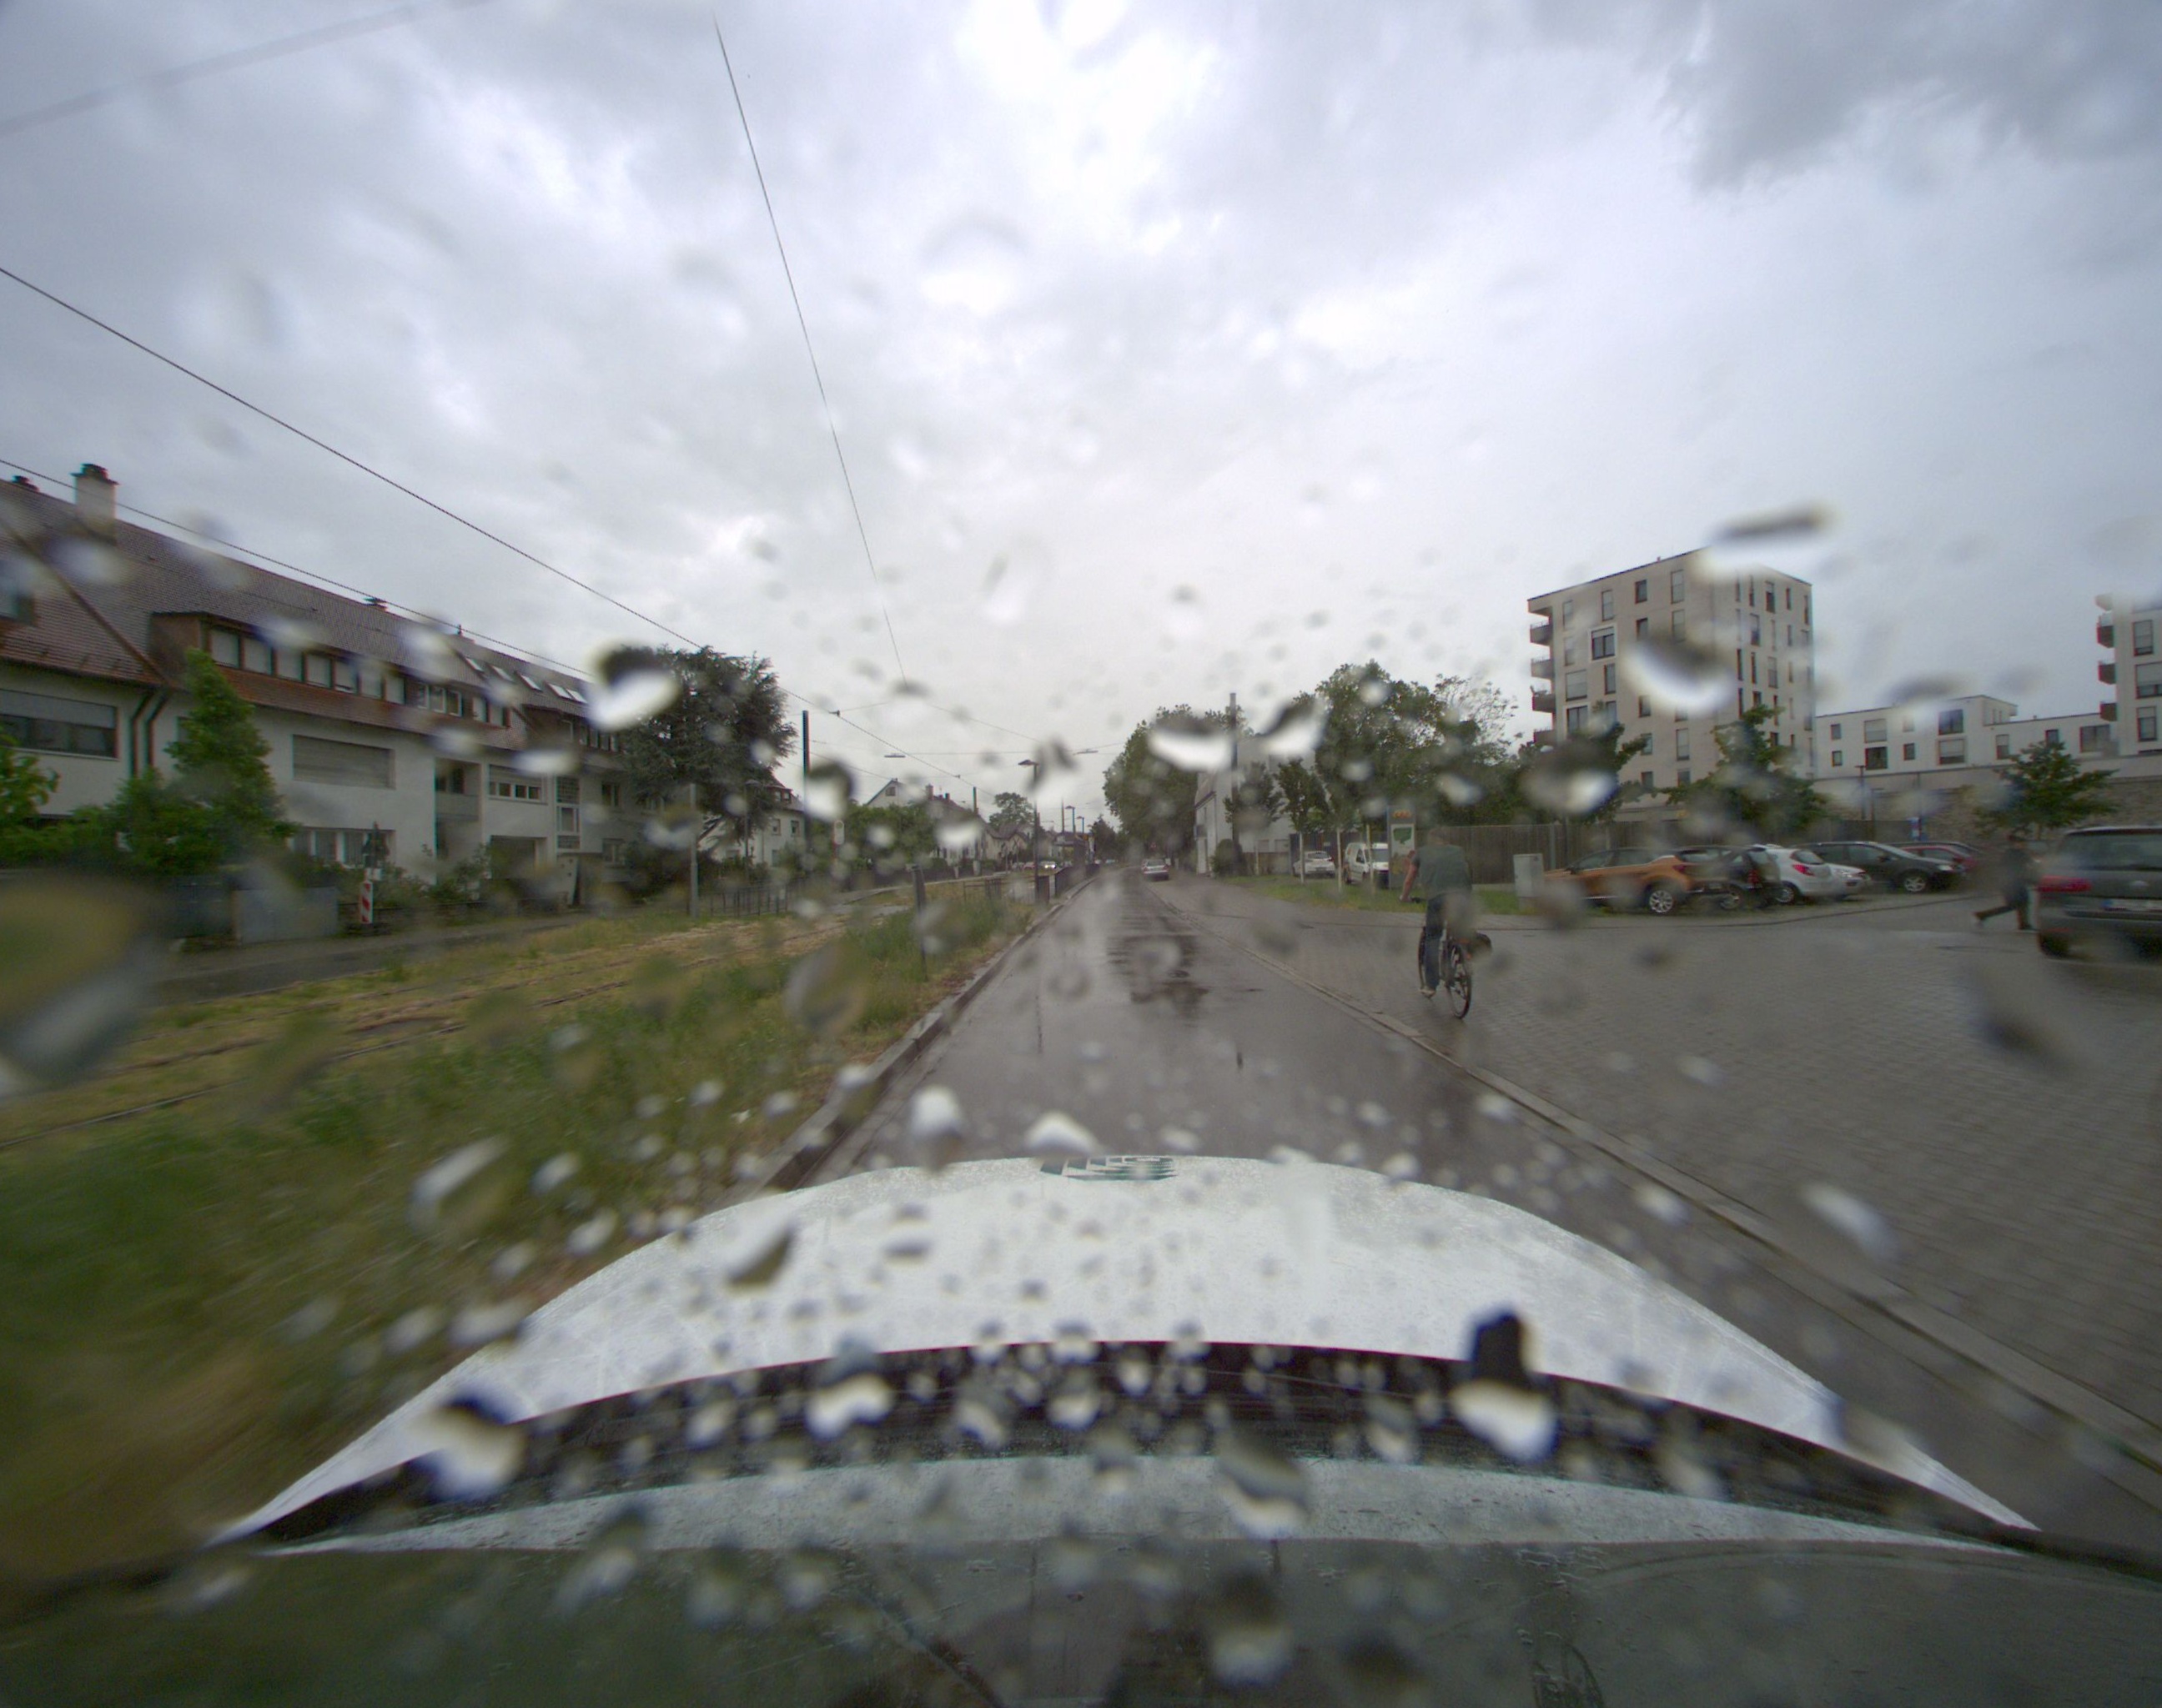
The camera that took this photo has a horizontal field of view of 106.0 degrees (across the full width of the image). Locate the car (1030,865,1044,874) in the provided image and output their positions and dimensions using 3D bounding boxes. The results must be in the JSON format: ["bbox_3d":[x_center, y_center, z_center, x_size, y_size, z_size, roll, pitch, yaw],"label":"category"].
[{"bbox_3d":[-7.866,2.818,145.747,1.918,1.486,4.007,-1,-1,6],"label":"car"}]

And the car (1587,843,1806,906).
[{"bbox_3d":[15.493,0.507,20.732,2.004,1.441,3.965,0,-1,-26],"label":"car"}]

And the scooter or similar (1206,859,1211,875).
[{"bbox_3d":[8.585,0.899,54.918,0.331,1.085,1.399,-1,-1,8],"label":"scooter or similar"}]

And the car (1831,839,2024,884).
[{"bbox_3d":[29.582,0.230,28.624,1.974,1.431,4.325,-1,0,-27],"label":"car"}]

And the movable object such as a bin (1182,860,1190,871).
[{"bbox_3d":[10.498,1.181,81.500,0.689,1.022,0.825,-4,-1,2],"label":"movable object such as a bin"}]

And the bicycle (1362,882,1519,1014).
[{"bbox_3d":[3.407,0.830,7.926,0.535,1.093,1.945,0,-1,-4],"label":"bicycle"}]

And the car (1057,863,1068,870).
[{"bbox_3d":[-3.986,2.722,175.420,1.918,1.486,4.007,-1,-1,6],"label":"car"}]

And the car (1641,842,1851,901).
[{"bbox_3d":[17.980,0.484,22.222,2.004,1.441,3.965,0,-1,-26],"label":"car"}]

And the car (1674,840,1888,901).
[{"bbox_3d":[20.062,0.415,23.534,1.977,1.587,4.319,-1,0,-32],"label":"car"}]

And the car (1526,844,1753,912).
[{"bbox_3d":[13.061,0.551,19.330,2.004,1.441,3.965,0,-1,-26],"label":"car"}]

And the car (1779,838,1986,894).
[{"bbox_3d":[25.091,0.340,25.660,1.977,1.609,4.319,-1,0,-32],"label":"car"}]

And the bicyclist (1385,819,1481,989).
[{"bbox_3d":[3.397,0.468,7.918,0.533,1.560,0.771,0,-1,-5],"label":"bicyclist"}]

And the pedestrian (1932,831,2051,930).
[{"bbox_3d":[14.702,0.414,13.175,0.840,1.517,1.085,0,-2,-28],"label":"pedestrian"}]

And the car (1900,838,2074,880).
[{"bbox_3d":[33.668,0.225,30.396,2.005,1.441,3.964,0,-1,-28],"label":"car"}]

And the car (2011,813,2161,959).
[{"bbox_3d":[13.633,0.355,10.206,4.124,1.617,1.798,0,0,-29],"label":"car"}]

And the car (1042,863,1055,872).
[{"bbox_3d":[-5.389,2.214,135.832,1.626,1.493,4.004,-1,-1,4],"label":"car"}]

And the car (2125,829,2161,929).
[{"bbox_3d":[18.597,0.392,12.986,4.124,1.533,1.798,0,0,-29],"label":"car"}]

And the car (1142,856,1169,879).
[{"bbox_3d":[5.103,0.943,56.293,1.643,1.405,4.653,-5,-2,4],"label":"car"}]

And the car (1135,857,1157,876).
[{"bbox_3d":[5.728,1.114,72.418,1.799,1.467,3.797,-5,-2,3],"label":"car"}]

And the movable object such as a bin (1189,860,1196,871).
[{"bbox_3d":[11.047,1.166,80.771,0.534,1.022,0.739,-4,-1,2],"label":"movable object such as a bin"}]

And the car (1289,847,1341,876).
[{"bbox_3d":[12.959,0.381,45.281,1.954,1.535,4.369,-1,0,5],"label":"car"}]

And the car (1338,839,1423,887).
[{"bbox_3d":[11.985,0.339,32.942,1.954,1.784,4.903,-1,0,4],"label":"car"}]
